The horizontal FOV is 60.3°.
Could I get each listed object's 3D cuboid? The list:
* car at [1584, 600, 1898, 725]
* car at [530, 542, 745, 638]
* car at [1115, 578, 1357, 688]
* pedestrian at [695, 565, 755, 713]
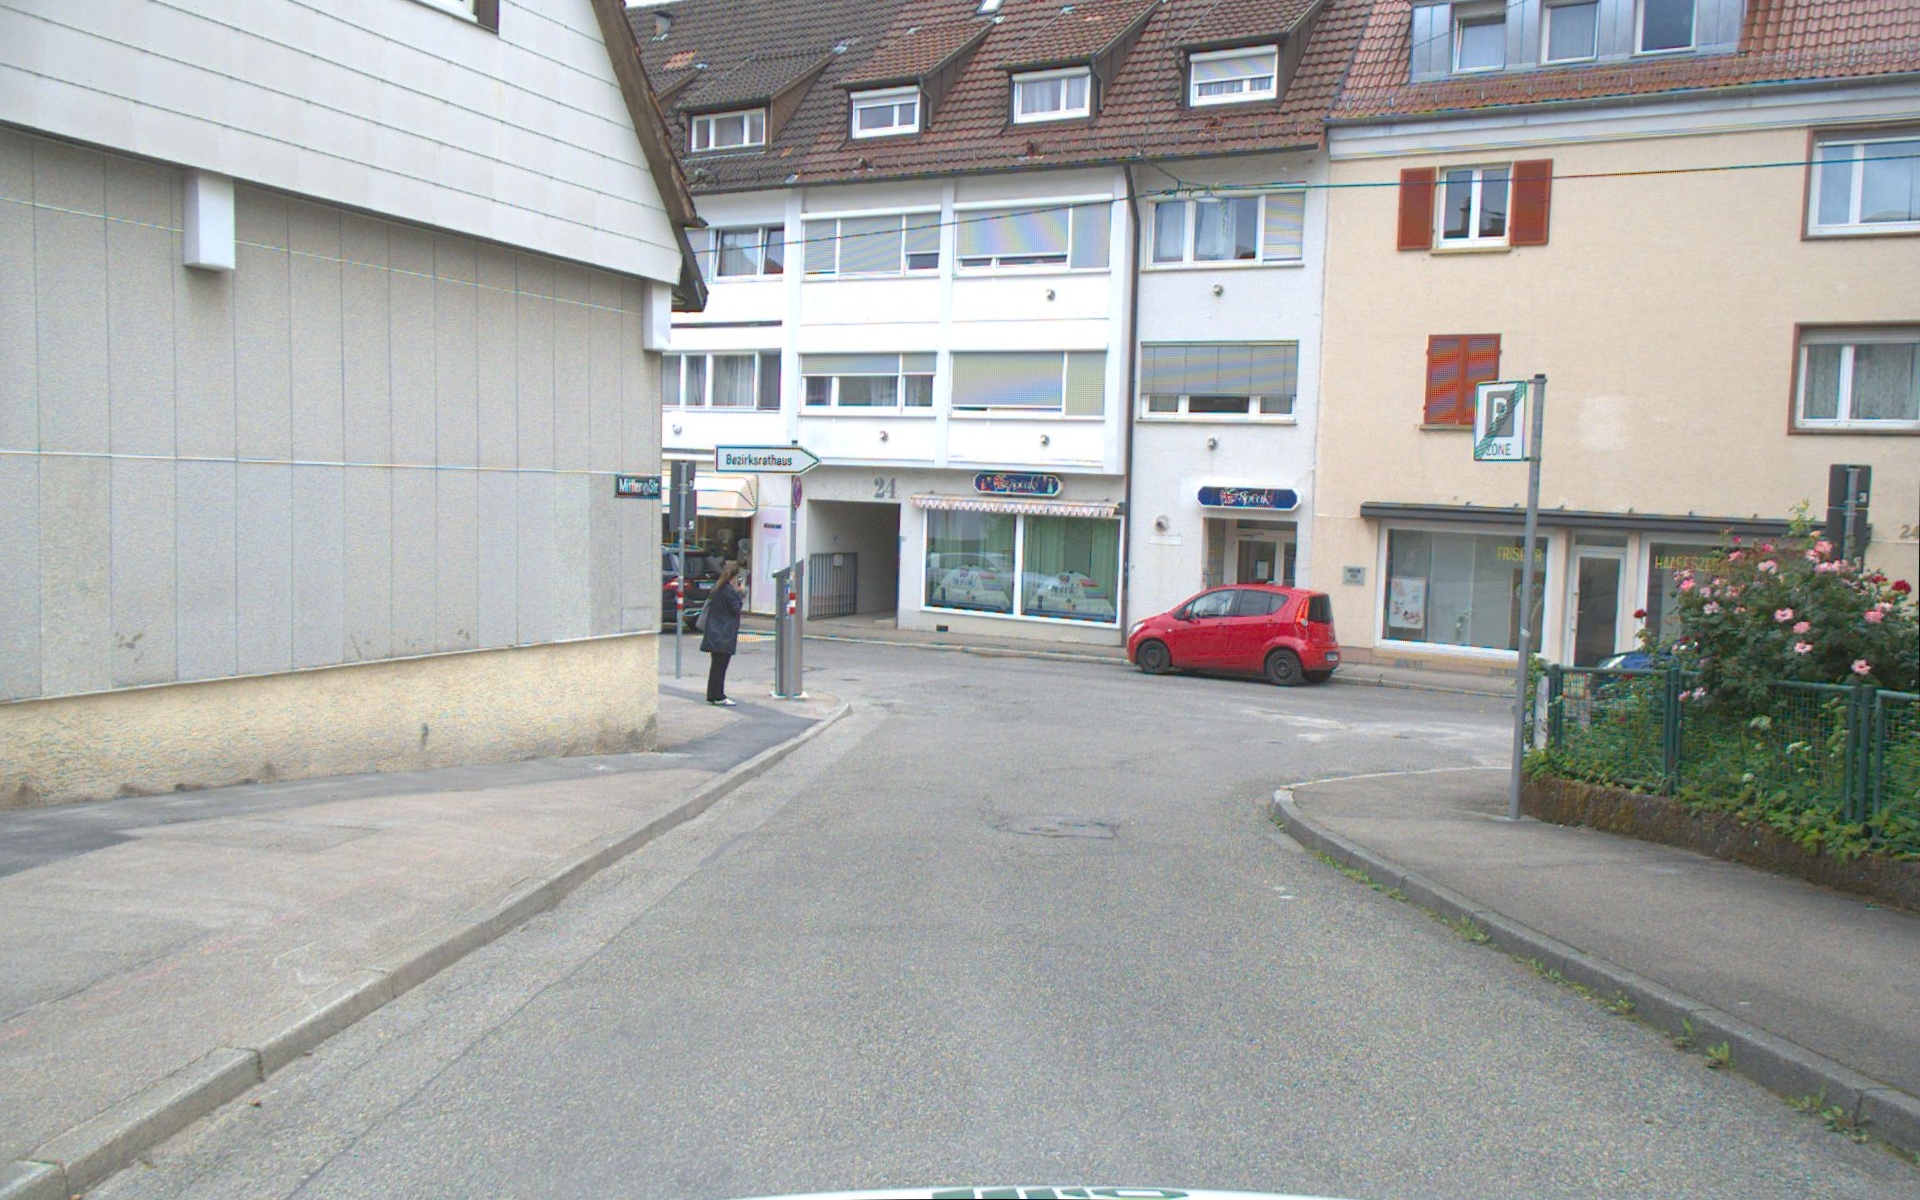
[{"bbox_3d":[11.163,0.844,23.703,3.839,1.475,1.692,3,0,33],"label":"car"},{"bbox_3d":[-6.814,-0.248,34.824,4.277,1.810,1.942,2,2,33],"label":"car"},{"bbox_3d":[4.625,0.511,27.840,3.619,1.583,1.692,3,1,34],"label":"car"},{"bbox_3d":[-2.810,0.453,19.755,0.635,1.714,0.603,2,1,-11],"label":"pedestrian"}]
